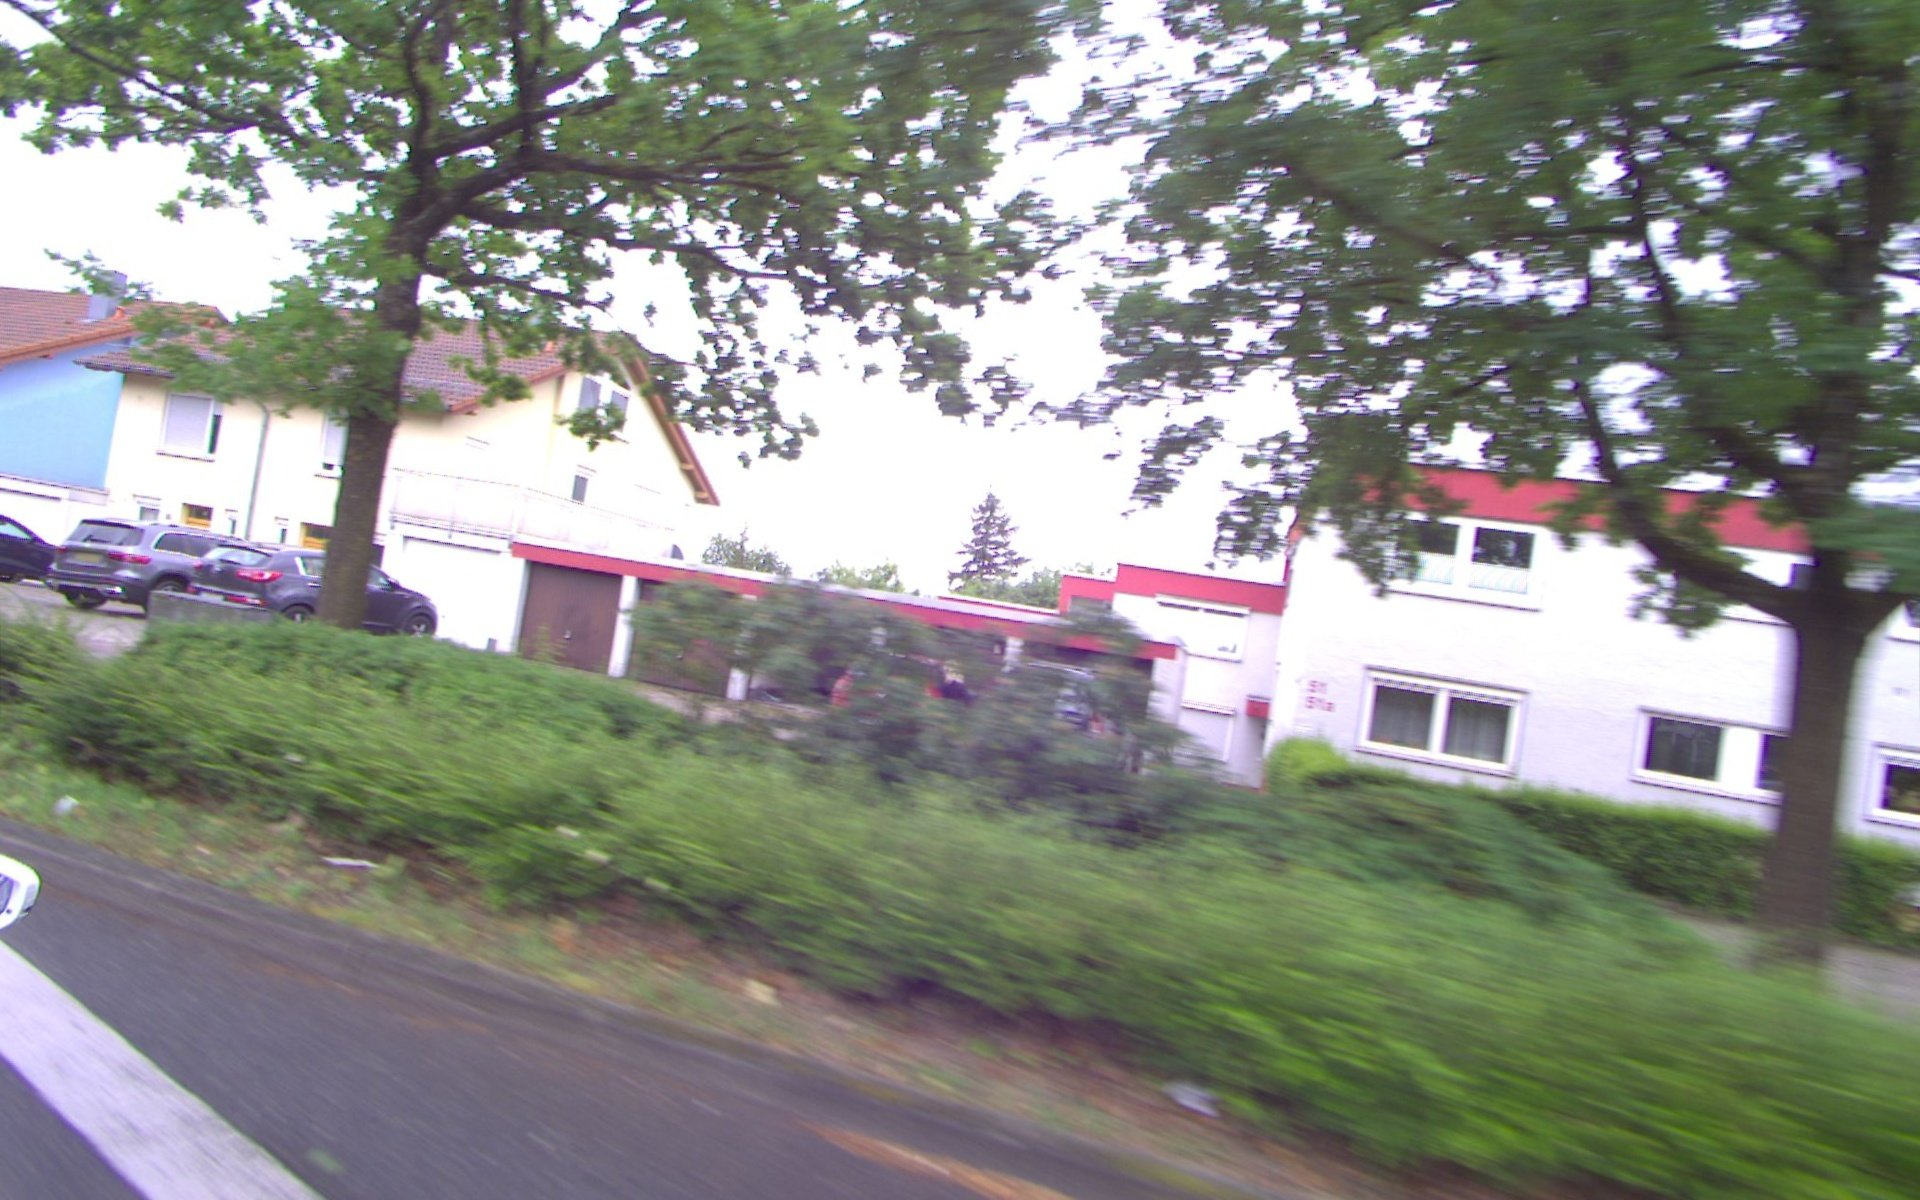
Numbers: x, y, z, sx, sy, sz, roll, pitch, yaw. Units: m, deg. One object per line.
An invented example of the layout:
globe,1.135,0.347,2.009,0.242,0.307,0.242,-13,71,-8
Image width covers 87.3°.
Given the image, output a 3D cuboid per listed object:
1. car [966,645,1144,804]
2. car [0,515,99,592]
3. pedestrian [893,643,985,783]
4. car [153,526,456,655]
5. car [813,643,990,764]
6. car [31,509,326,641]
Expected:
car,1.542,1.738,14.749,1.888,1.739,4.007,8,-3,13
car,-20.729,-1.176,20.908,1.643,1.402,4.008,8,-3,12
pedestrian,-0.253,1.389,12.517,0.826,1.575,0.667,8,-2,10
car,-11.616,-0.057,18.241,1.954,1.689,4.200,8,-3,16
car,-0.791,1.607,16.025,1.674,1.457,3.711,8,-3,13
car,-14.386,-0.345,18.893,1.689,1.687,4.205,8,-5,8
